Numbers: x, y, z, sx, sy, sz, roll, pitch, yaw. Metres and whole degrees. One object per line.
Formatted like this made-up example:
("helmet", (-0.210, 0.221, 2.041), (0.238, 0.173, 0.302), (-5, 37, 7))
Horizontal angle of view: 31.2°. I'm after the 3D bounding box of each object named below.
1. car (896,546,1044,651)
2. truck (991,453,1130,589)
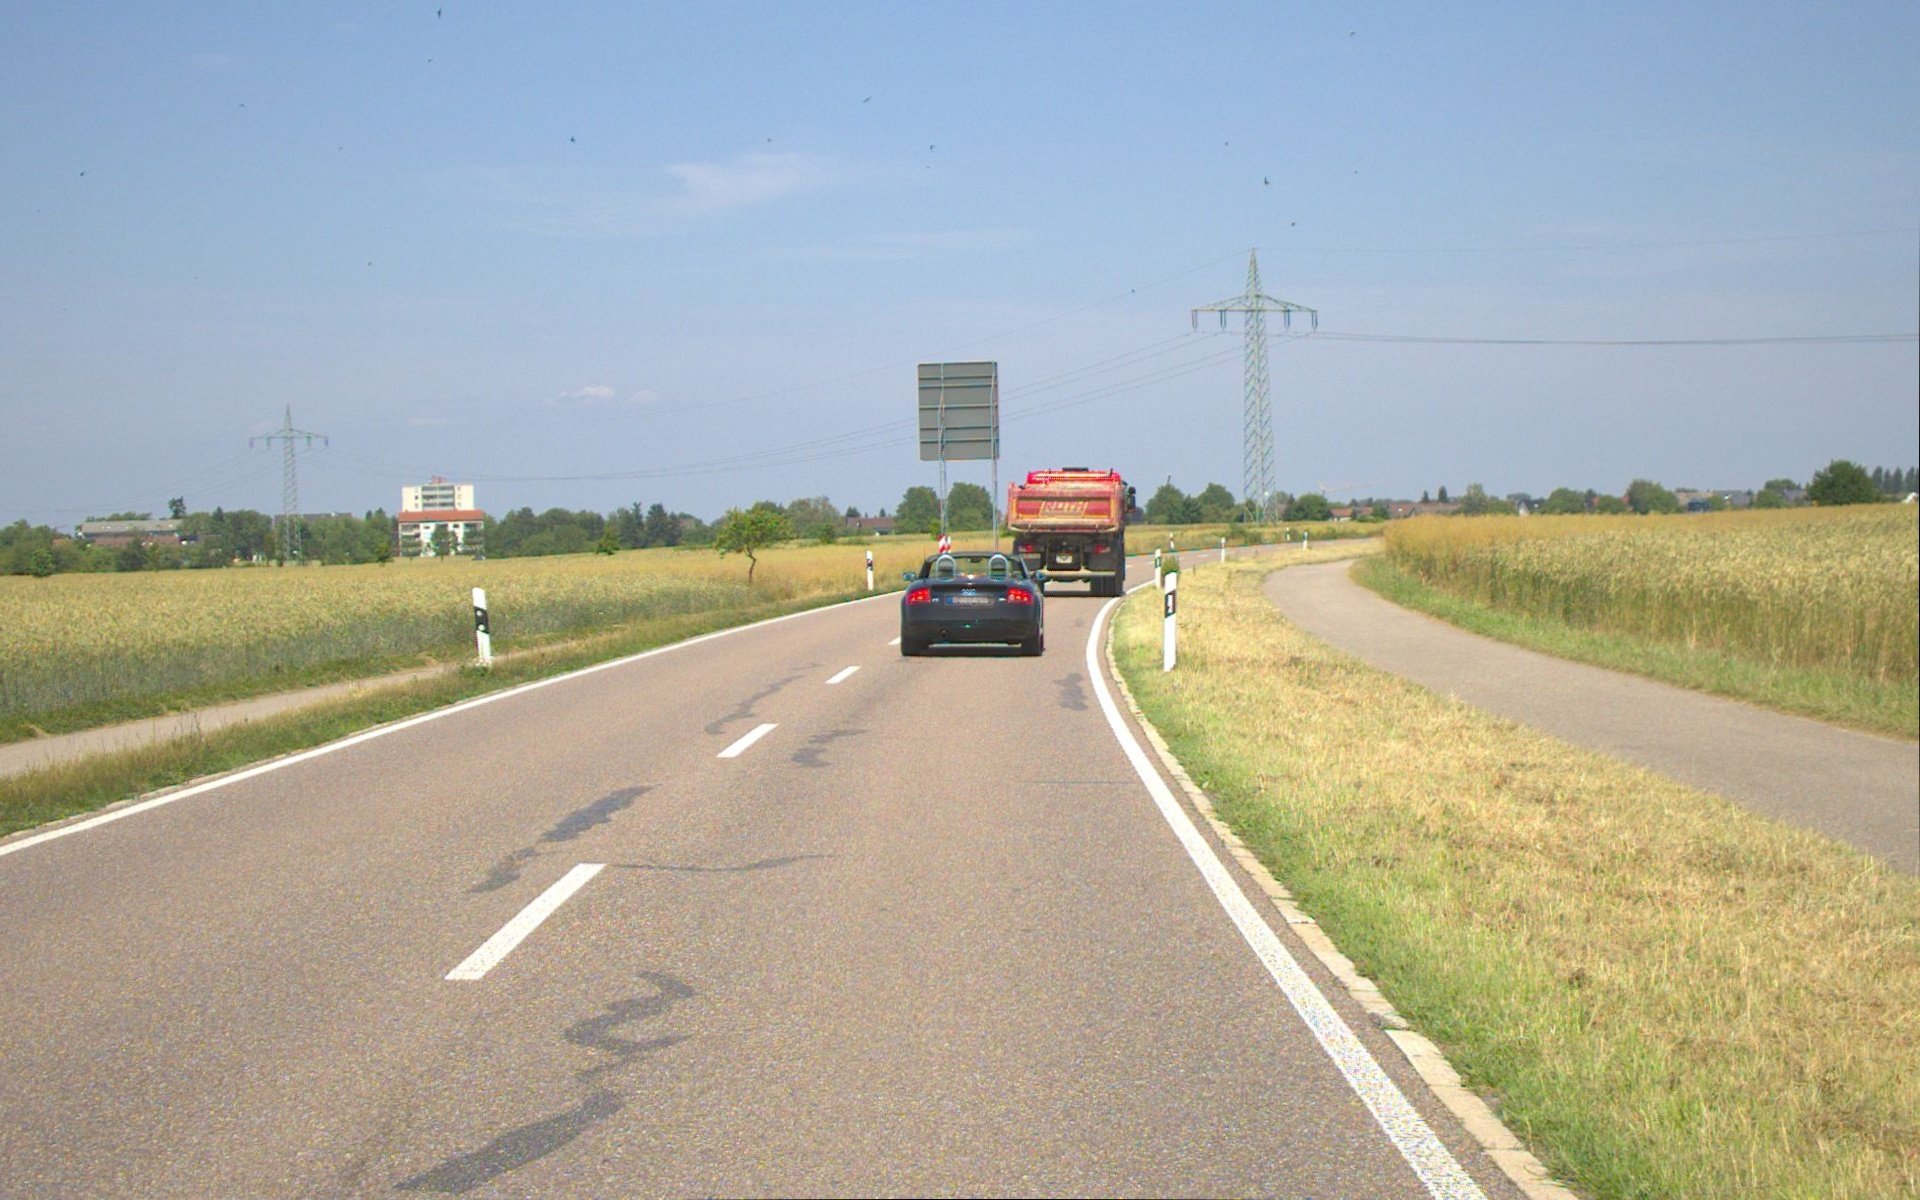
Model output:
("car", (0.170, -0.031, 43.857), (1.744, 1.275, 4.000), (0, 0, 2))
("truck", (2.469, -1.837, 82.247), (2.938, 3.078, 7.195), (0, 0, 5))
